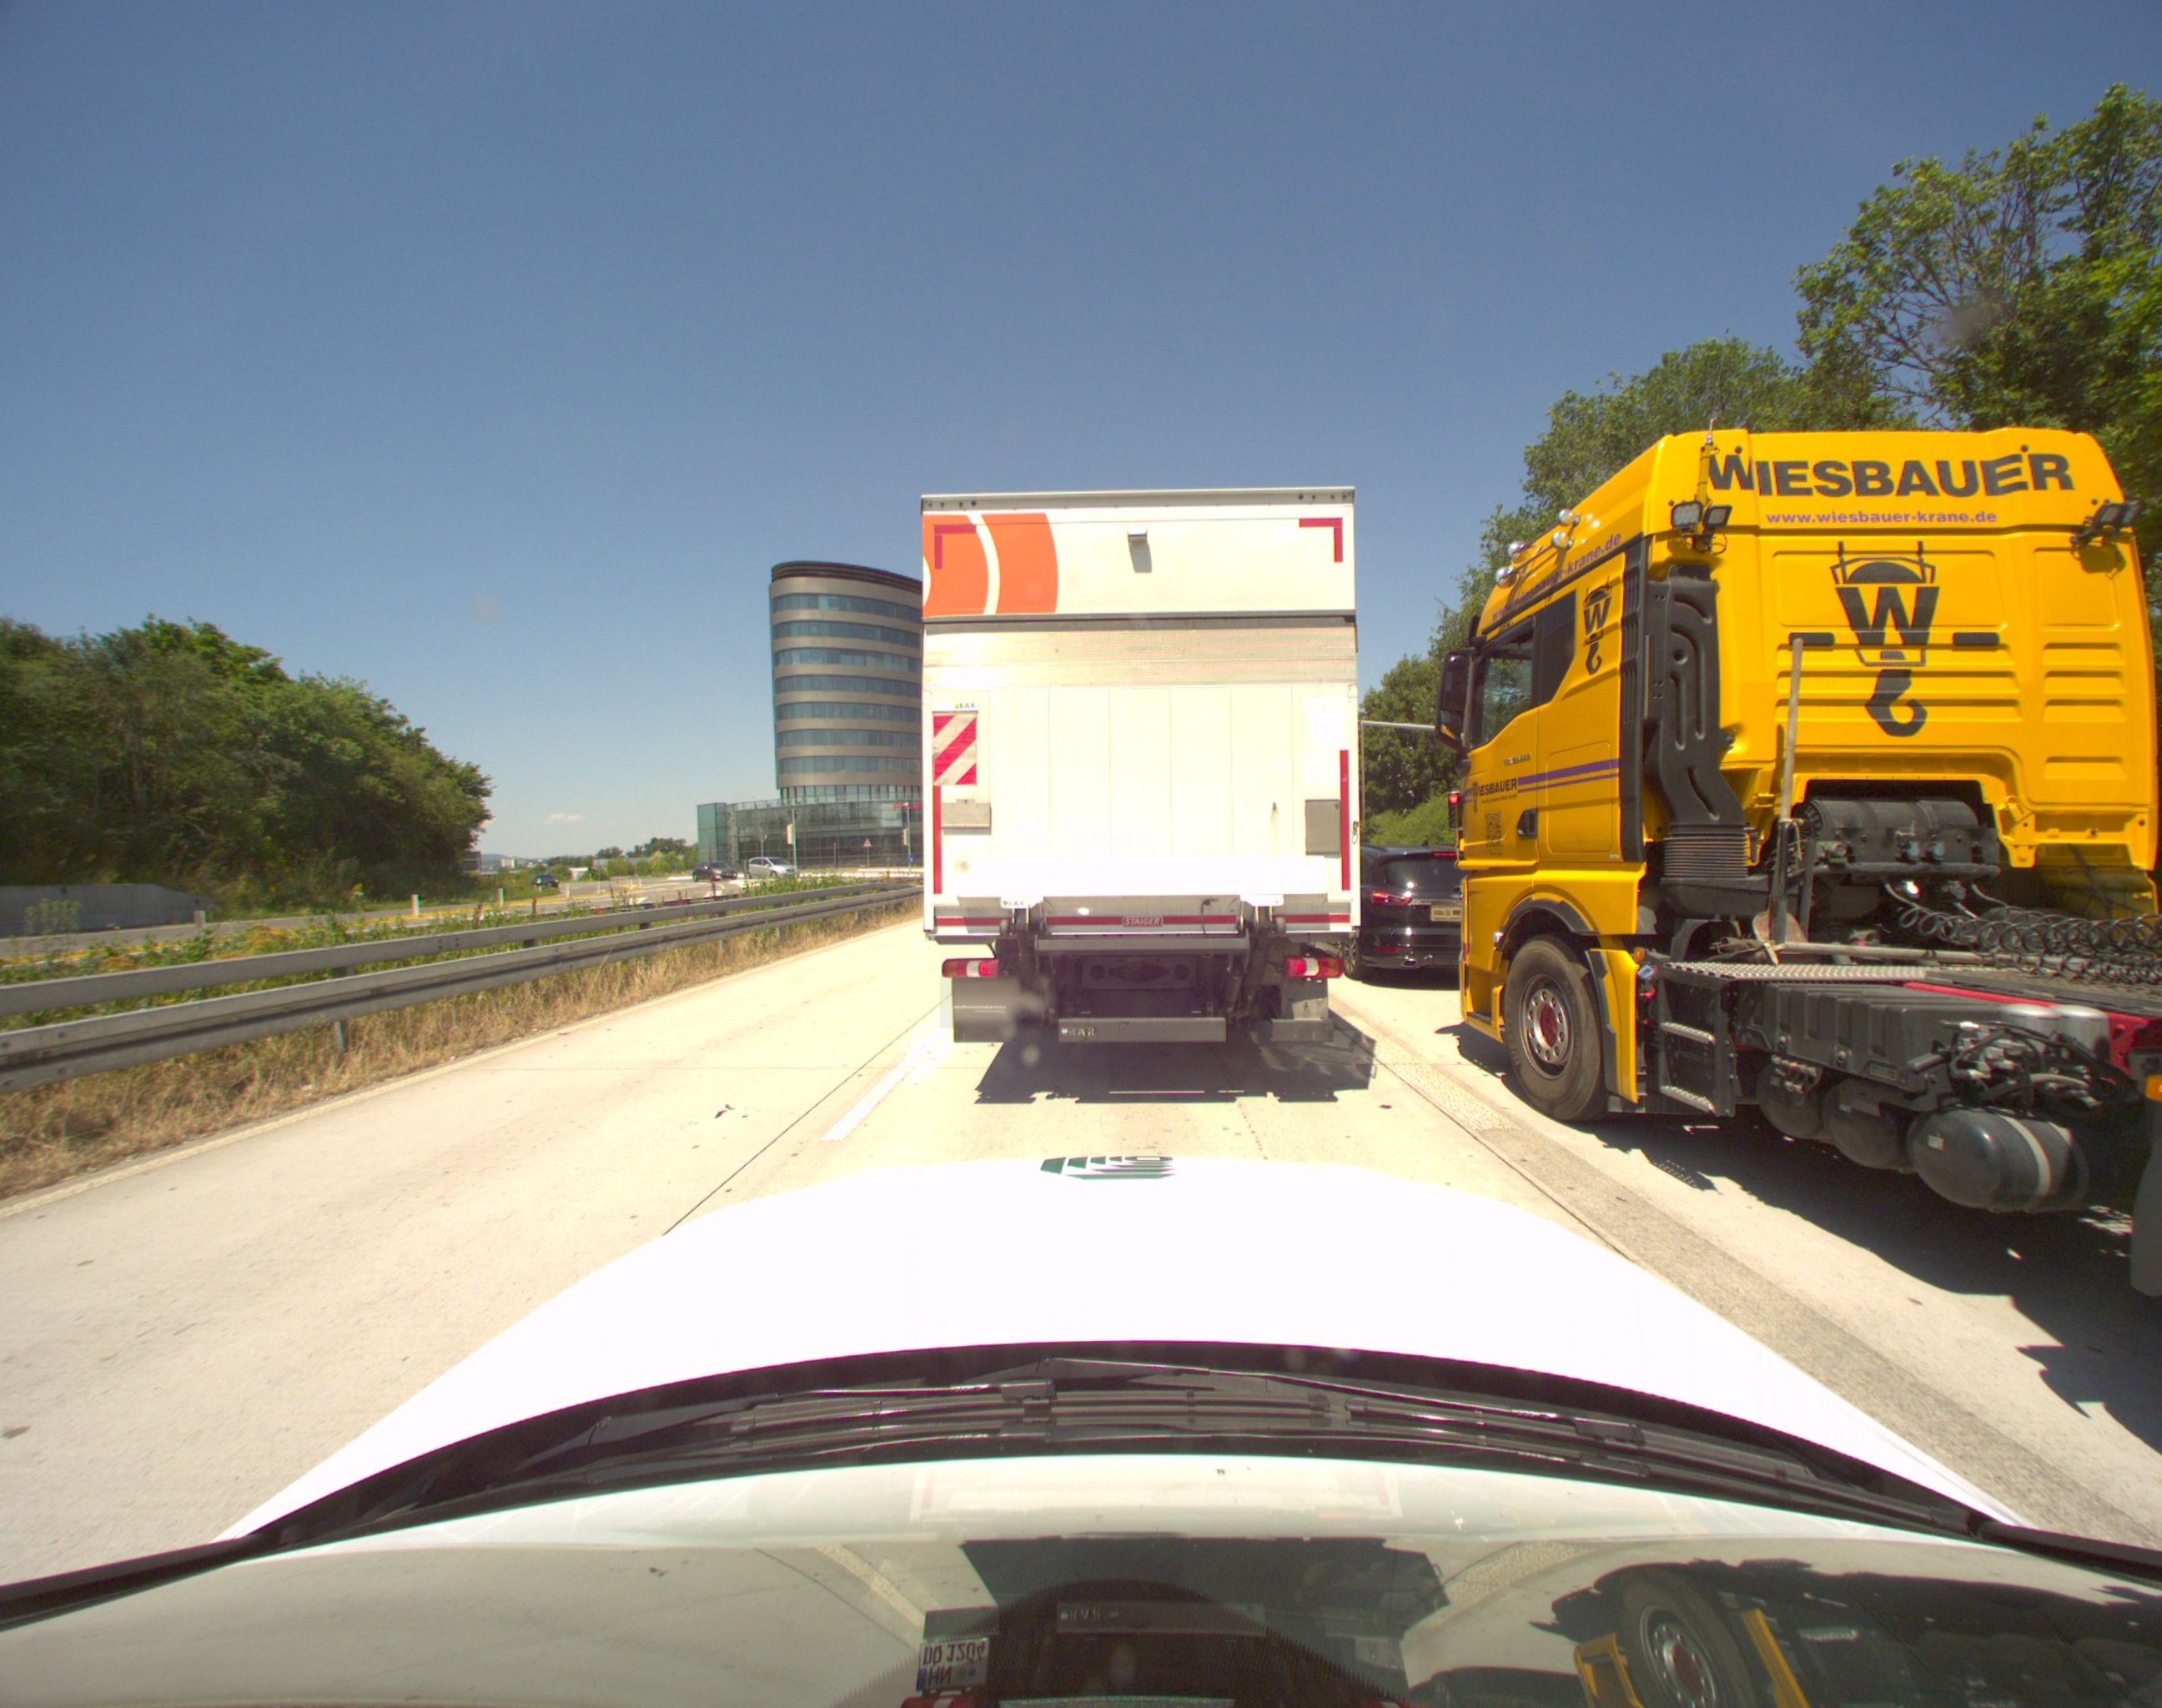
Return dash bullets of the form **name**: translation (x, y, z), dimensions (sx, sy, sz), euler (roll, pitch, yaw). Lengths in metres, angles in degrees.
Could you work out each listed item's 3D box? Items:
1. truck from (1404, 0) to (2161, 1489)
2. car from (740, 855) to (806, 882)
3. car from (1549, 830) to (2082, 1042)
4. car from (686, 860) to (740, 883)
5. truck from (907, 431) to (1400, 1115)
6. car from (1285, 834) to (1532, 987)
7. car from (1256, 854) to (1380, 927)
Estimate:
- **truck**: translation (3.926, -0.465, 2.447), dimensions (3.003, 3.772, 7.470), euler (0, 0, 0)
- **car**: translation (-20.667, 0.983, 54.581), dimensions (4.274, 1.595, 1.788), euler (-3, -2, 29)
- **car**: translation (7.726, 0.725, 9.422), dimensions (1.763, 1.807, 4.789), euler (0, -1, -2)
- **car**: translation (-26.733, 1.268, 59.104), dimensions (4.273, 1.456, 1.708), euler (-3, -2, 37)
- **truck**: translation (0.549, -0.424, 9.303), dimensions (2.759, 3.860, 9.374), euler (0, -1, 2)
- **car**: translation (4.104, 0.632, 11.111), dimensions (1.776, 1.639, 4.652), euler (0, -1, 4)
- **car**: translation (5.134, 0.735, 18.260), dimensions (1.759, 1.410, 4.615), euler (0, -1, 5)
